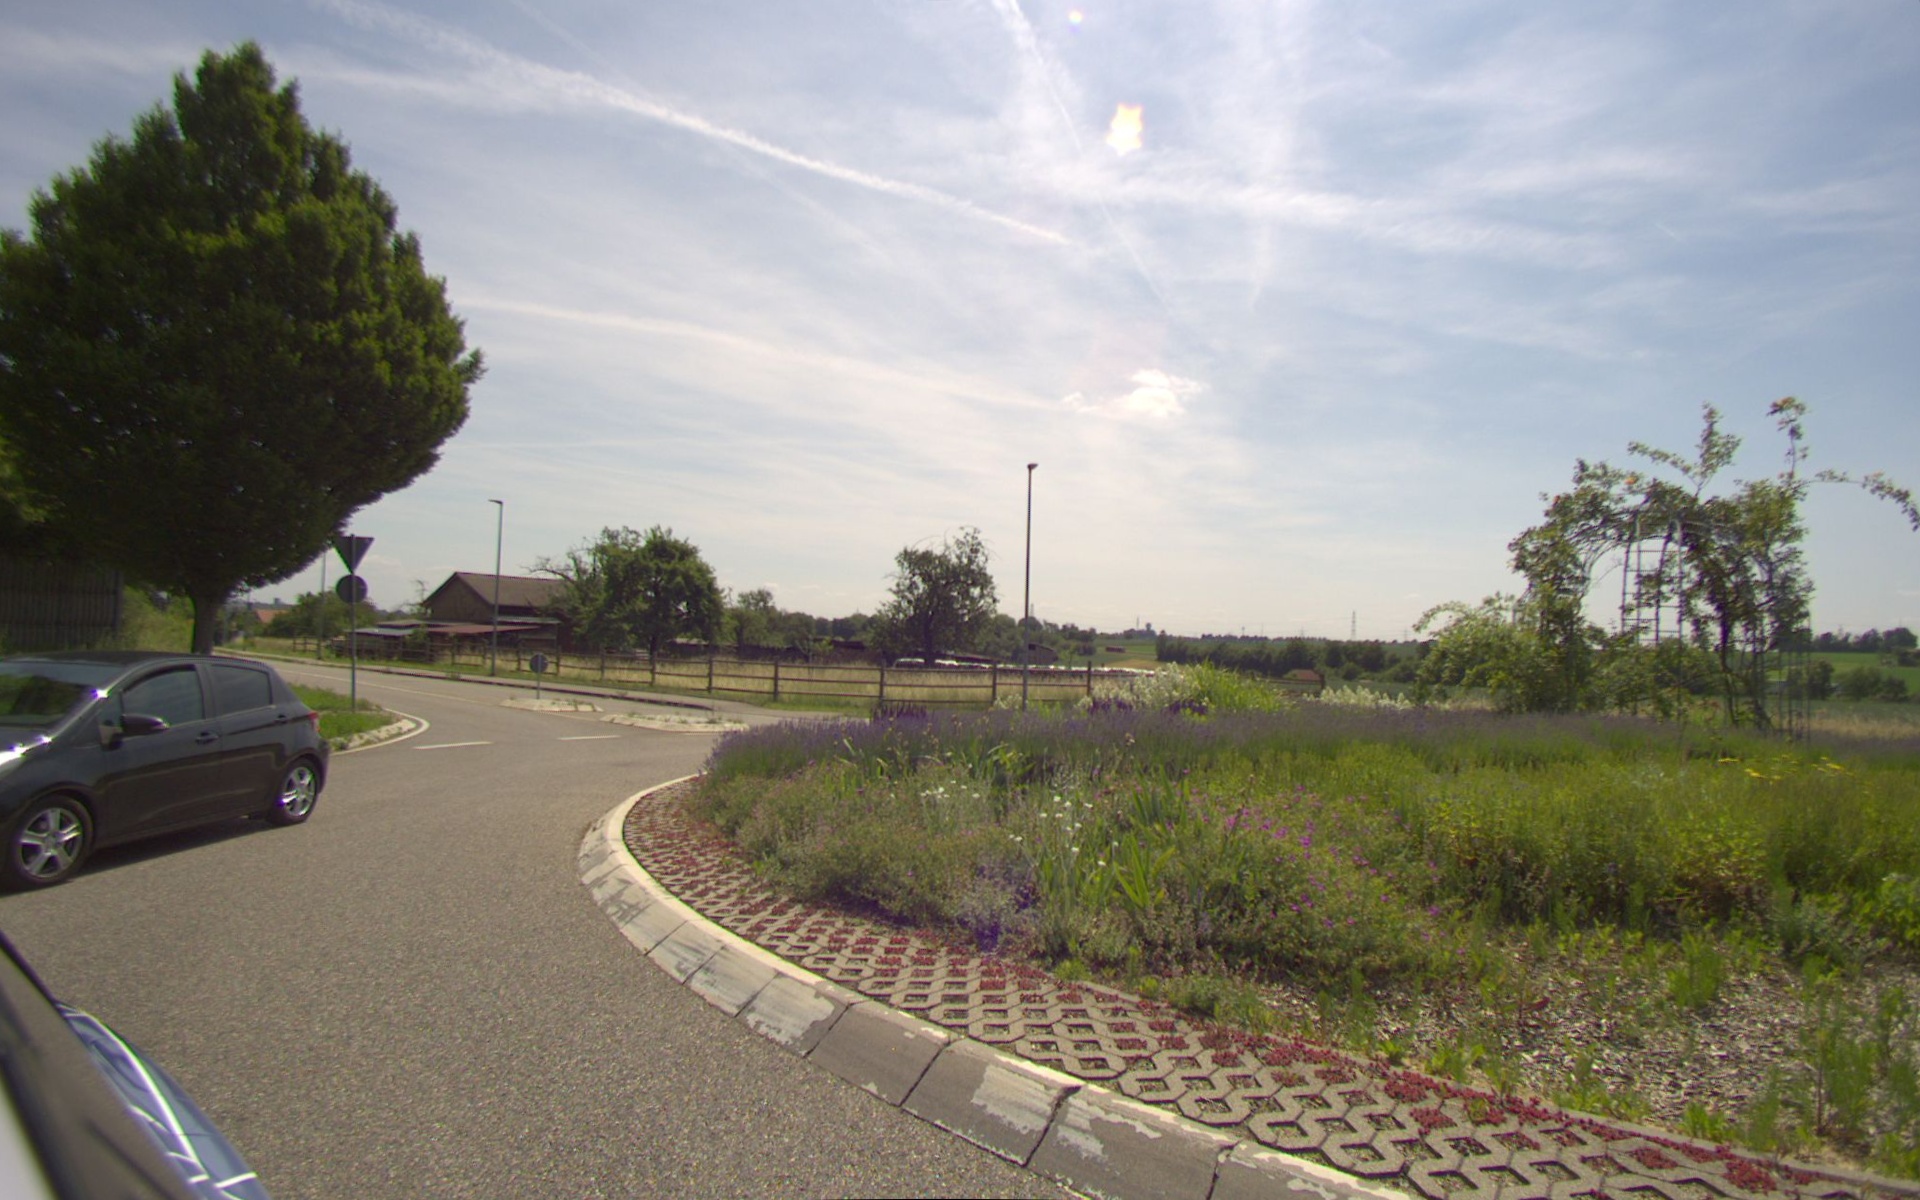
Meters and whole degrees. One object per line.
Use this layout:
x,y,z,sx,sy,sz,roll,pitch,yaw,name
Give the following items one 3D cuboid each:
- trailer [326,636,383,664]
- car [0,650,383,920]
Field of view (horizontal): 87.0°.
-41.677,3.409,69.618,2.129,1.716,5.033,7,-6,-44,trailer
-6.349,1.142,7.575,1.654,1.476,4.434,1,-2,-2,car
